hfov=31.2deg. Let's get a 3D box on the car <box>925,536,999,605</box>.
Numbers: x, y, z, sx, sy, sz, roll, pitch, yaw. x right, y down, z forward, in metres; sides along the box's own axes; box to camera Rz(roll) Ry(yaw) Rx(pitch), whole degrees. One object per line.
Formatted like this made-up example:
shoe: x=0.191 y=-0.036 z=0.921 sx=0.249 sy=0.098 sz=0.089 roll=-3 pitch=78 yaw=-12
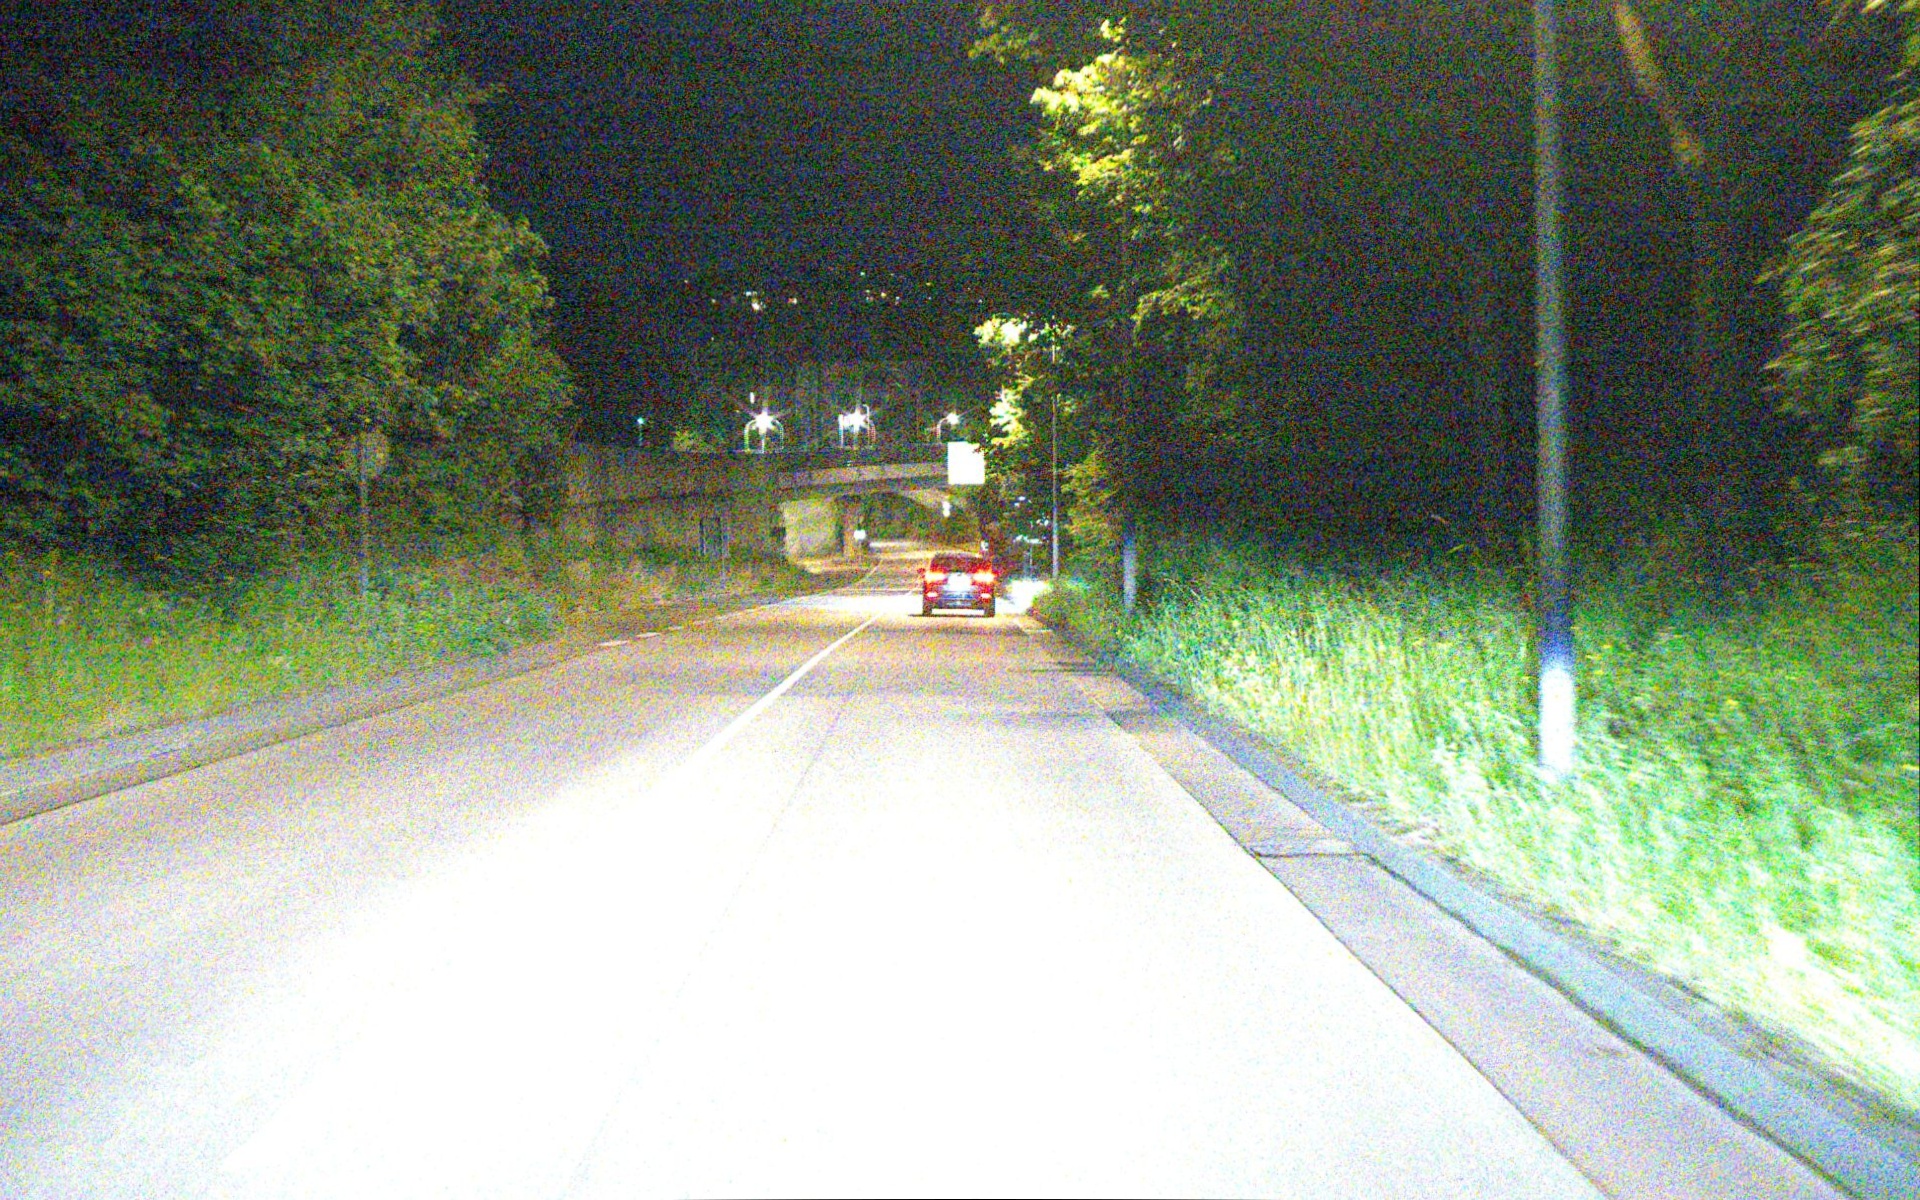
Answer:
car: x=0.061 y=-0.746 z=85.549 sx=1.763 sy=1.636 sz=3.723 roll=1 pitch=1 yaw=1
